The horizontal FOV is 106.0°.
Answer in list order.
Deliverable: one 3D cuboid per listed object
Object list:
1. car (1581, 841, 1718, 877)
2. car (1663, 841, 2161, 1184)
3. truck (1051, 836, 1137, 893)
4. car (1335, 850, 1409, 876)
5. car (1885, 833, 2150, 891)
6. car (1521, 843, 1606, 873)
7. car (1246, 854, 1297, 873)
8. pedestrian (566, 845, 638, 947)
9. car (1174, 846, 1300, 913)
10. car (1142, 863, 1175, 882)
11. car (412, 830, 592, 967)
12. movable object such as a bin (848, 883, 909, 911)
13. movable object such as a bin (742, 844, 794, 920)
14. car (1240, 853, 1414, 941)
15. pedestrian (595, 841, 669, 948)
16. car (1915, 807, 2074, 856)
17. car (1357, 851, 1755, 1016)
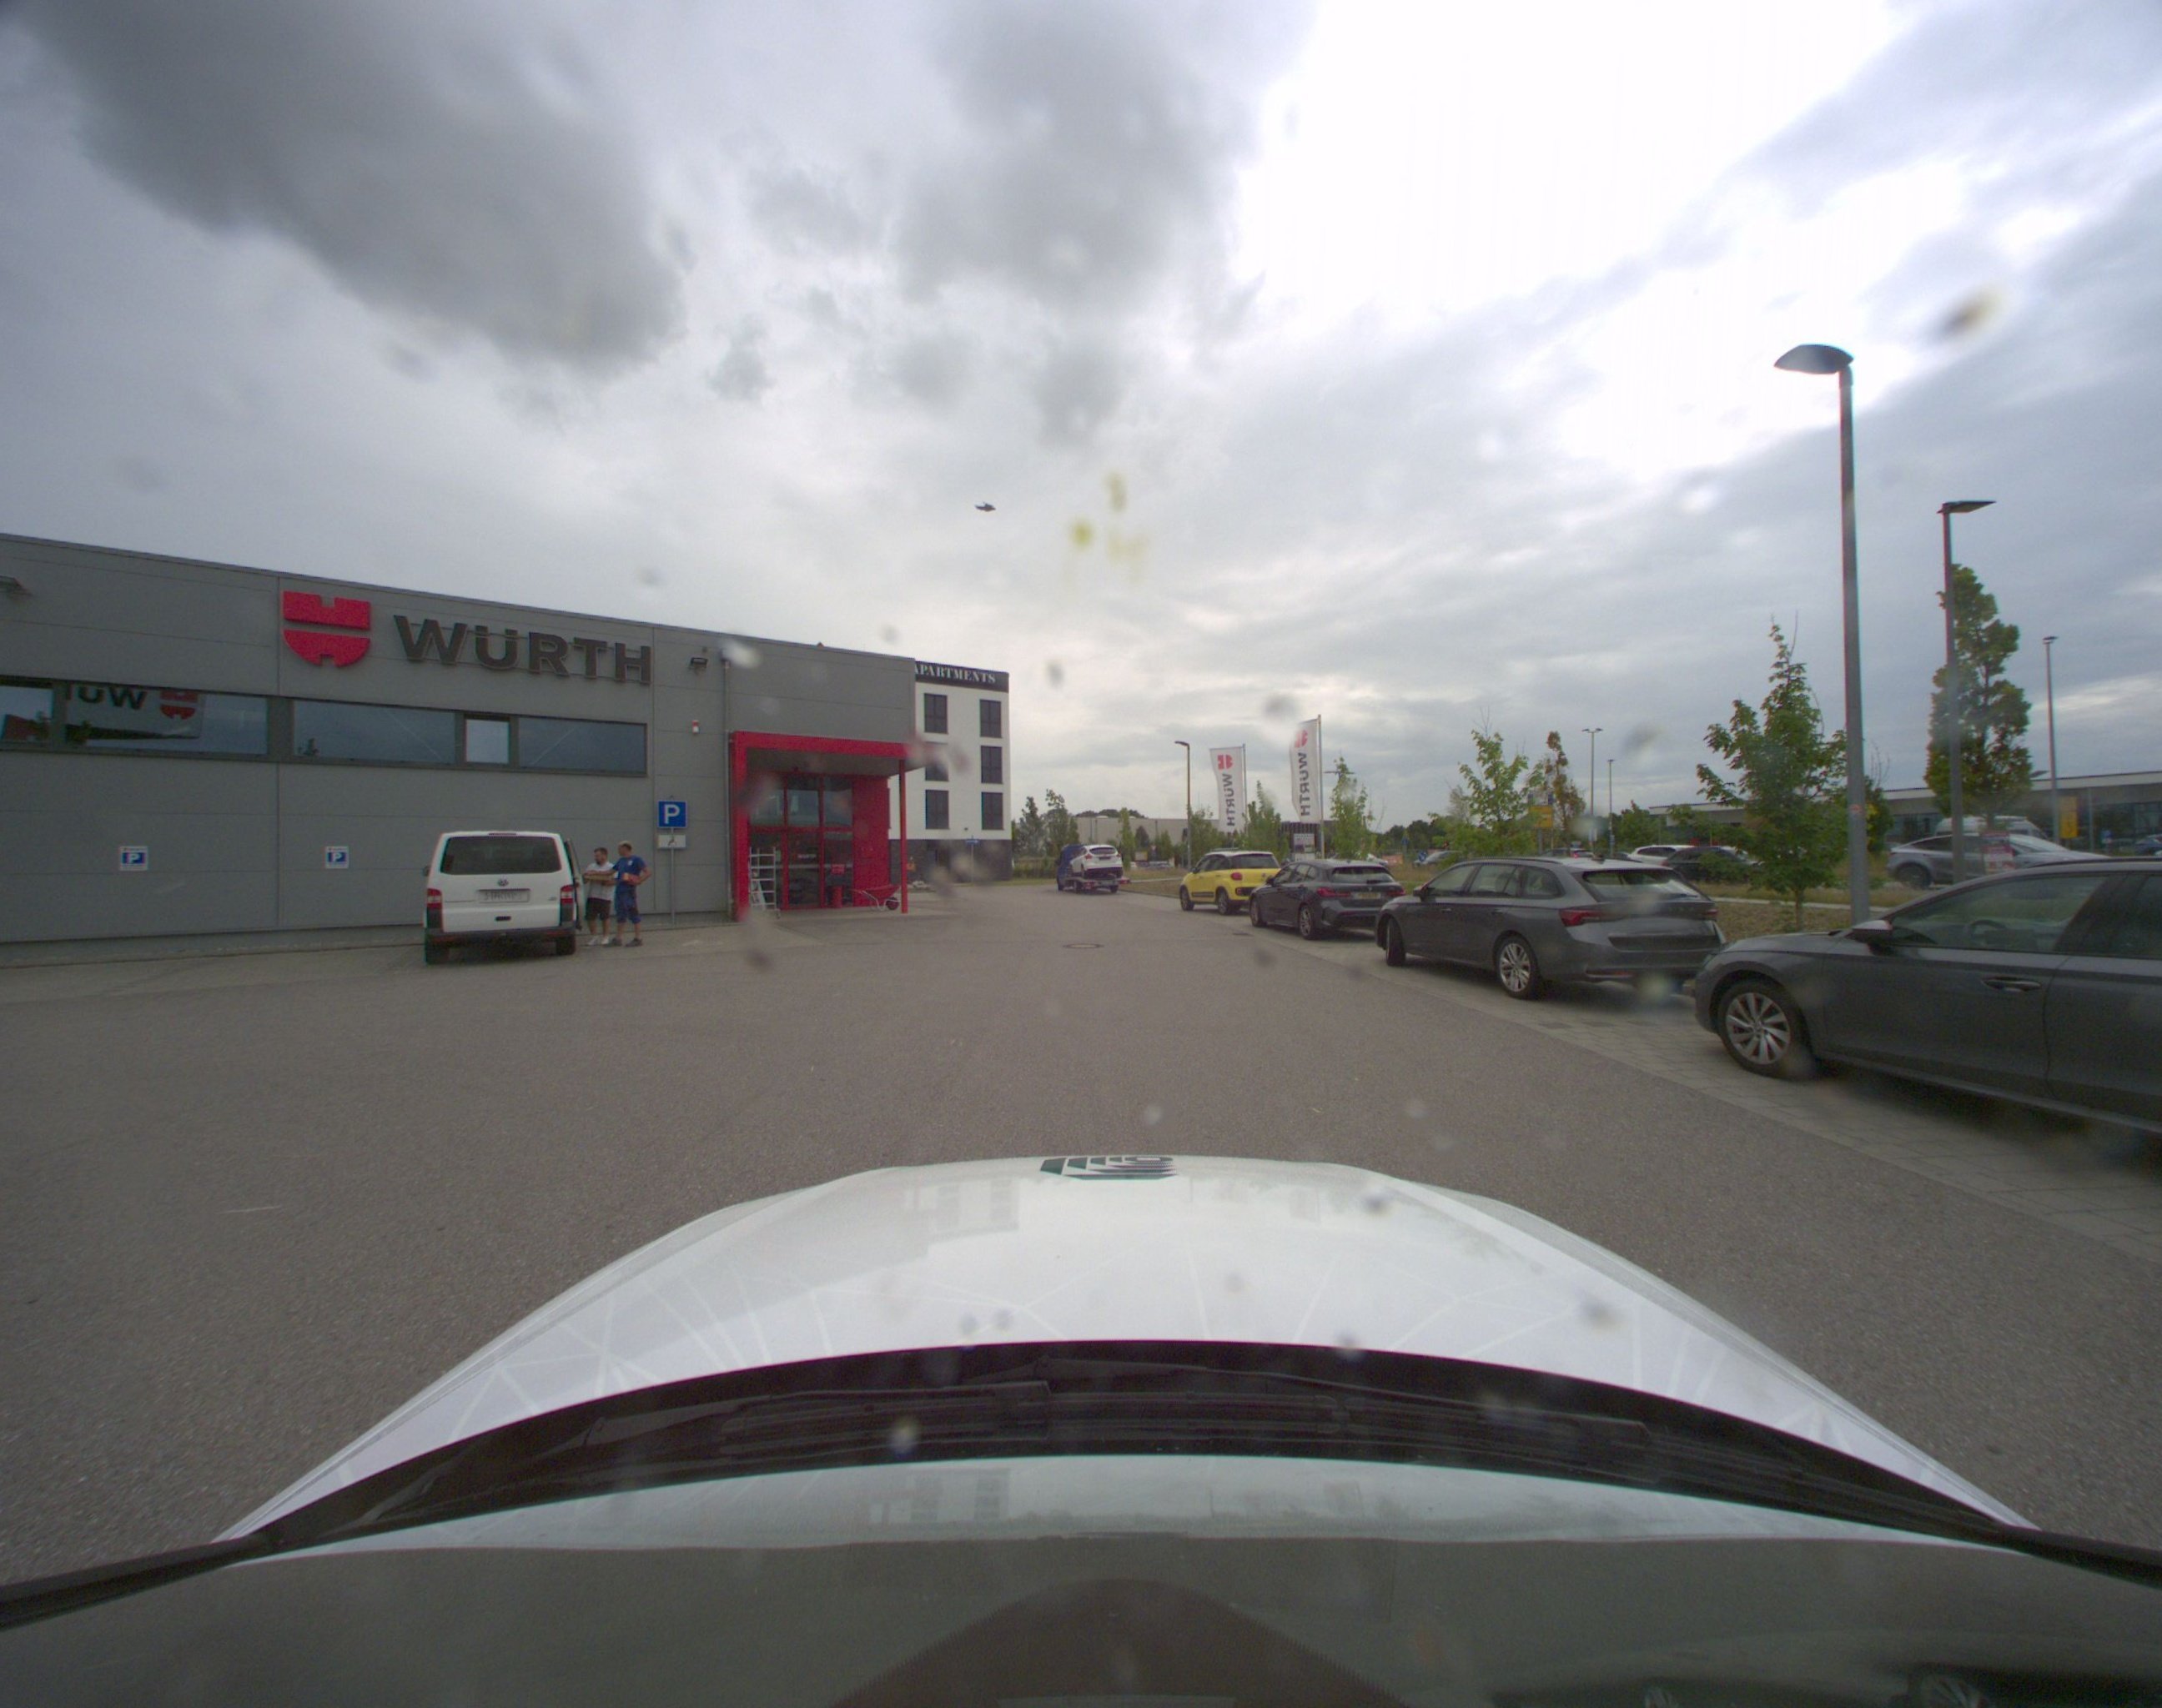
[{"bbox_3d":[23.751,0.206,34.232,1.769,1.395,4.525,-1,0,-21],"label":"car"},{"bbox_3d":[5.467,0.674,4.029,1.748,1.469,4.468,-1,0,-5],"label":"car"},{"bbox_3d":[0.421,0.489,38.643,2.333,2.406,7.863,-1,-1,-12],"label":"truck"},{"bbox_3d":[16.967,0.526,47.736,1.766,1.395,4.534,-1,0,-16],"label":"car"},{"bbox_3d":[25.349,0.196,22.346,1.762,1.395,4.546,-1,0,-8],"label":"car"},{"bbox_3d":[25.600,0.225,43.381,1.657,1.459,3.904,-3,0,-12],"label":"car"},{"bbox_3d":[16.263,0.828,69.660,1.933,1.486,4.385,-3,0,-24],"label":"car"},{"bbox_3d":[-8.544,0.727,14.544,0.618,1.751,0.911,-1,0,29],"label":"pedestrian"},{"bbox_3d":[4.143,0.674,22.330,1.860,1.650,3.979,0,-1,-15],"label":"car"},{"bbox_3d":[8.406,2.009,88.210,2.001,1.860,3.973,-3,0,-20],"label":"car"},{"bbox_3d":[-9.428,0.645,13.538,2.069,1.855,4.020,-2,0,-32],"label":"car"},{"bbox_3d":[-5.655,1.193,22.740,1.496,0.704,0.956,0,-1,-27],"label":"movable object such as a bin"},{"bbox_3d":[-7.351,0.643,19.126,0.916,1.672,0.735,-4,1,-33],"label":"movable object such as a bin"},{"bbox_3d":[4.616,0.738,15.933,1.750,1.469,4.097,-1,0,-7],"label":"car"},{"bbox_3d":[-7.883,0.689,14.317,0.670,1.802,0.885,-1,0,27],"label":"pedestrian"},{"bbox_3d":[45.542,-1.093,40.681,5.567,2.122,2.337,-3,0,-4],"label":"car"},{"bbox_3d":[5.137,0.729,9.691,1.750,1.469,4.465,-1,0,-7],"label":"car"}]
